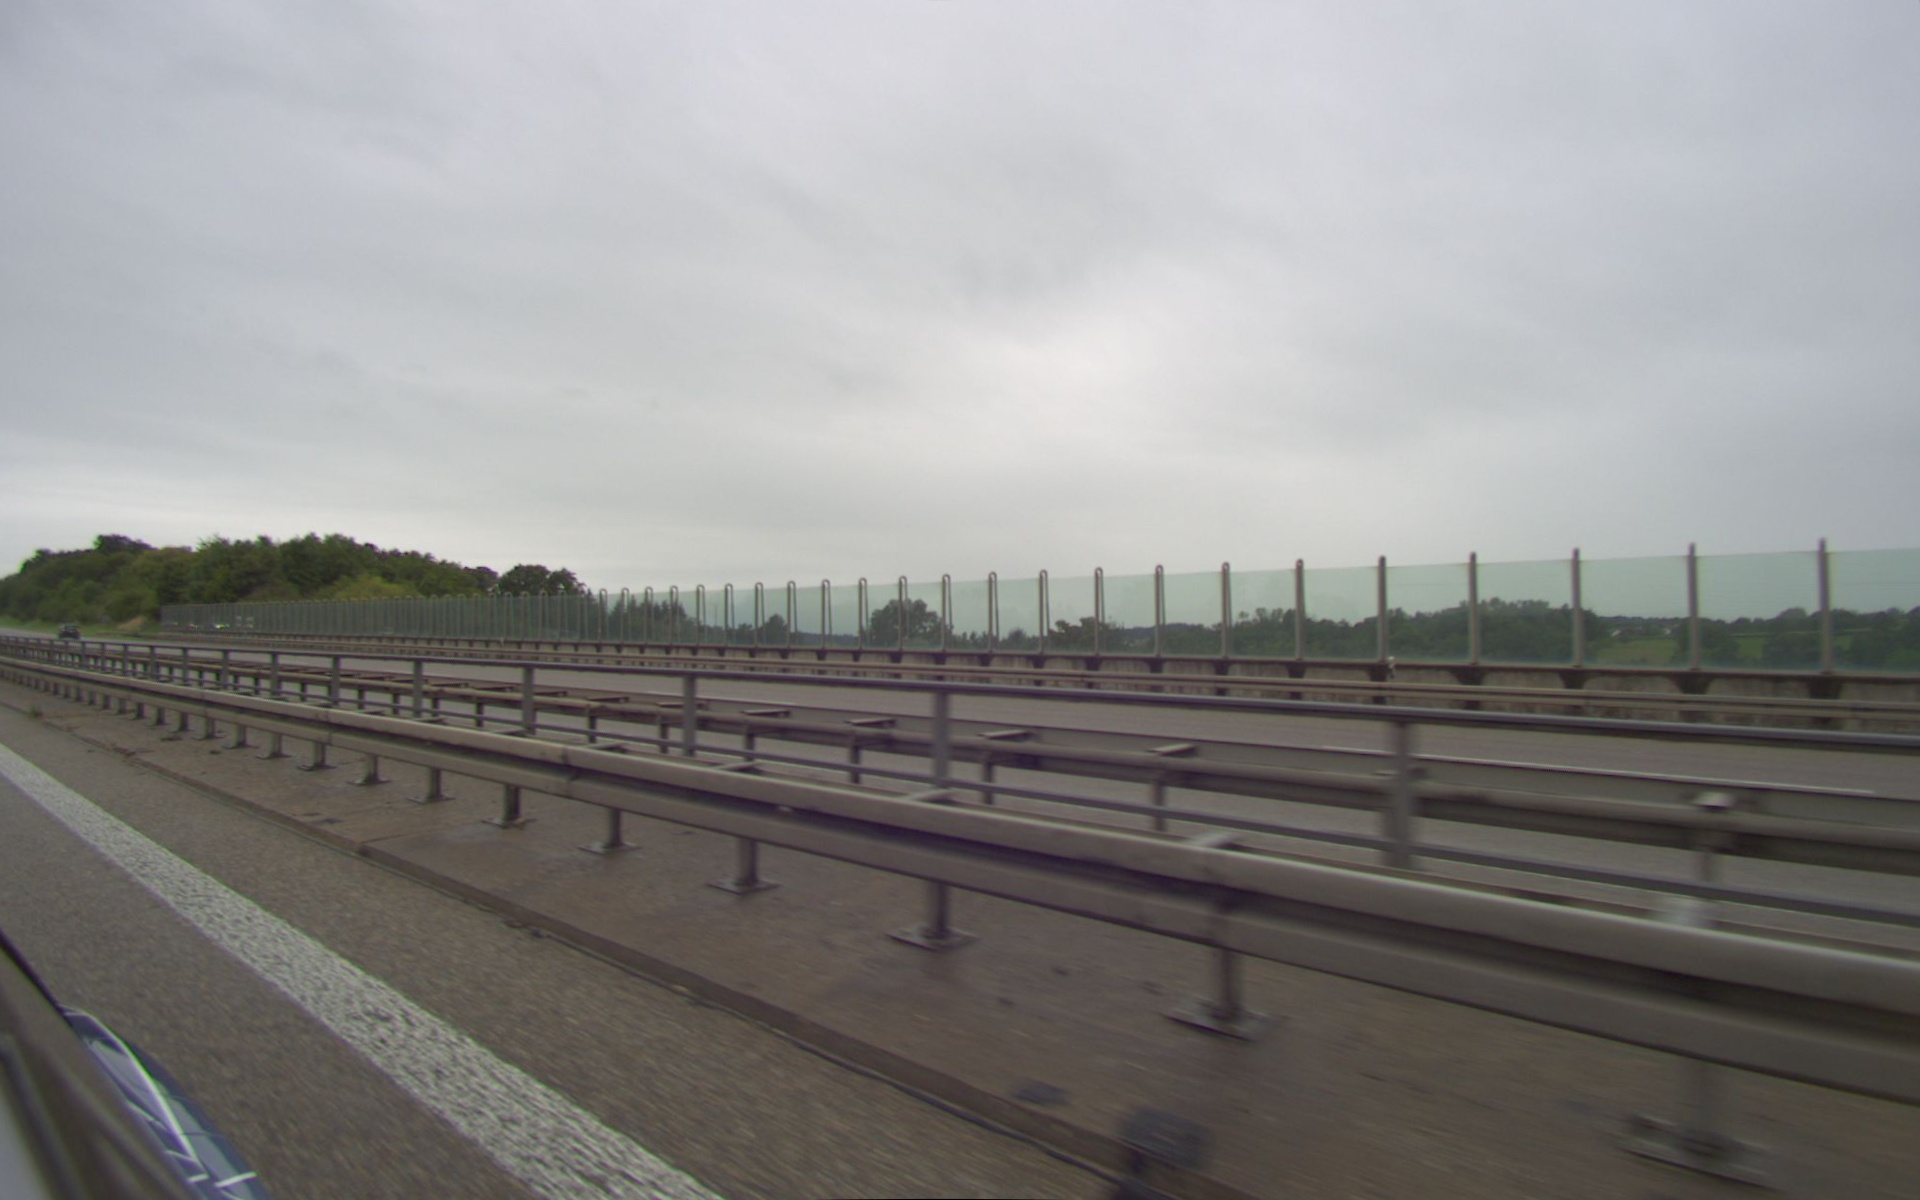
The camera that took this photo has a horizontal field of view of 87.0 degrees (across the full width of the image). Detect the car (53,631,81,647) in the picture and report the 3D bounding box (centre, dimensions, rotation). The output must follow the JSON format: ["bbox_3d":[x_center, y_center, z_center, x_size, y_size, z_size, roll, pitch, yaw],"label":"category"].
[{"bbox_3d":[-90.394,3.950,102.466,3.858,1.508,1.666,-1,-2,41],"label":"car"}]
